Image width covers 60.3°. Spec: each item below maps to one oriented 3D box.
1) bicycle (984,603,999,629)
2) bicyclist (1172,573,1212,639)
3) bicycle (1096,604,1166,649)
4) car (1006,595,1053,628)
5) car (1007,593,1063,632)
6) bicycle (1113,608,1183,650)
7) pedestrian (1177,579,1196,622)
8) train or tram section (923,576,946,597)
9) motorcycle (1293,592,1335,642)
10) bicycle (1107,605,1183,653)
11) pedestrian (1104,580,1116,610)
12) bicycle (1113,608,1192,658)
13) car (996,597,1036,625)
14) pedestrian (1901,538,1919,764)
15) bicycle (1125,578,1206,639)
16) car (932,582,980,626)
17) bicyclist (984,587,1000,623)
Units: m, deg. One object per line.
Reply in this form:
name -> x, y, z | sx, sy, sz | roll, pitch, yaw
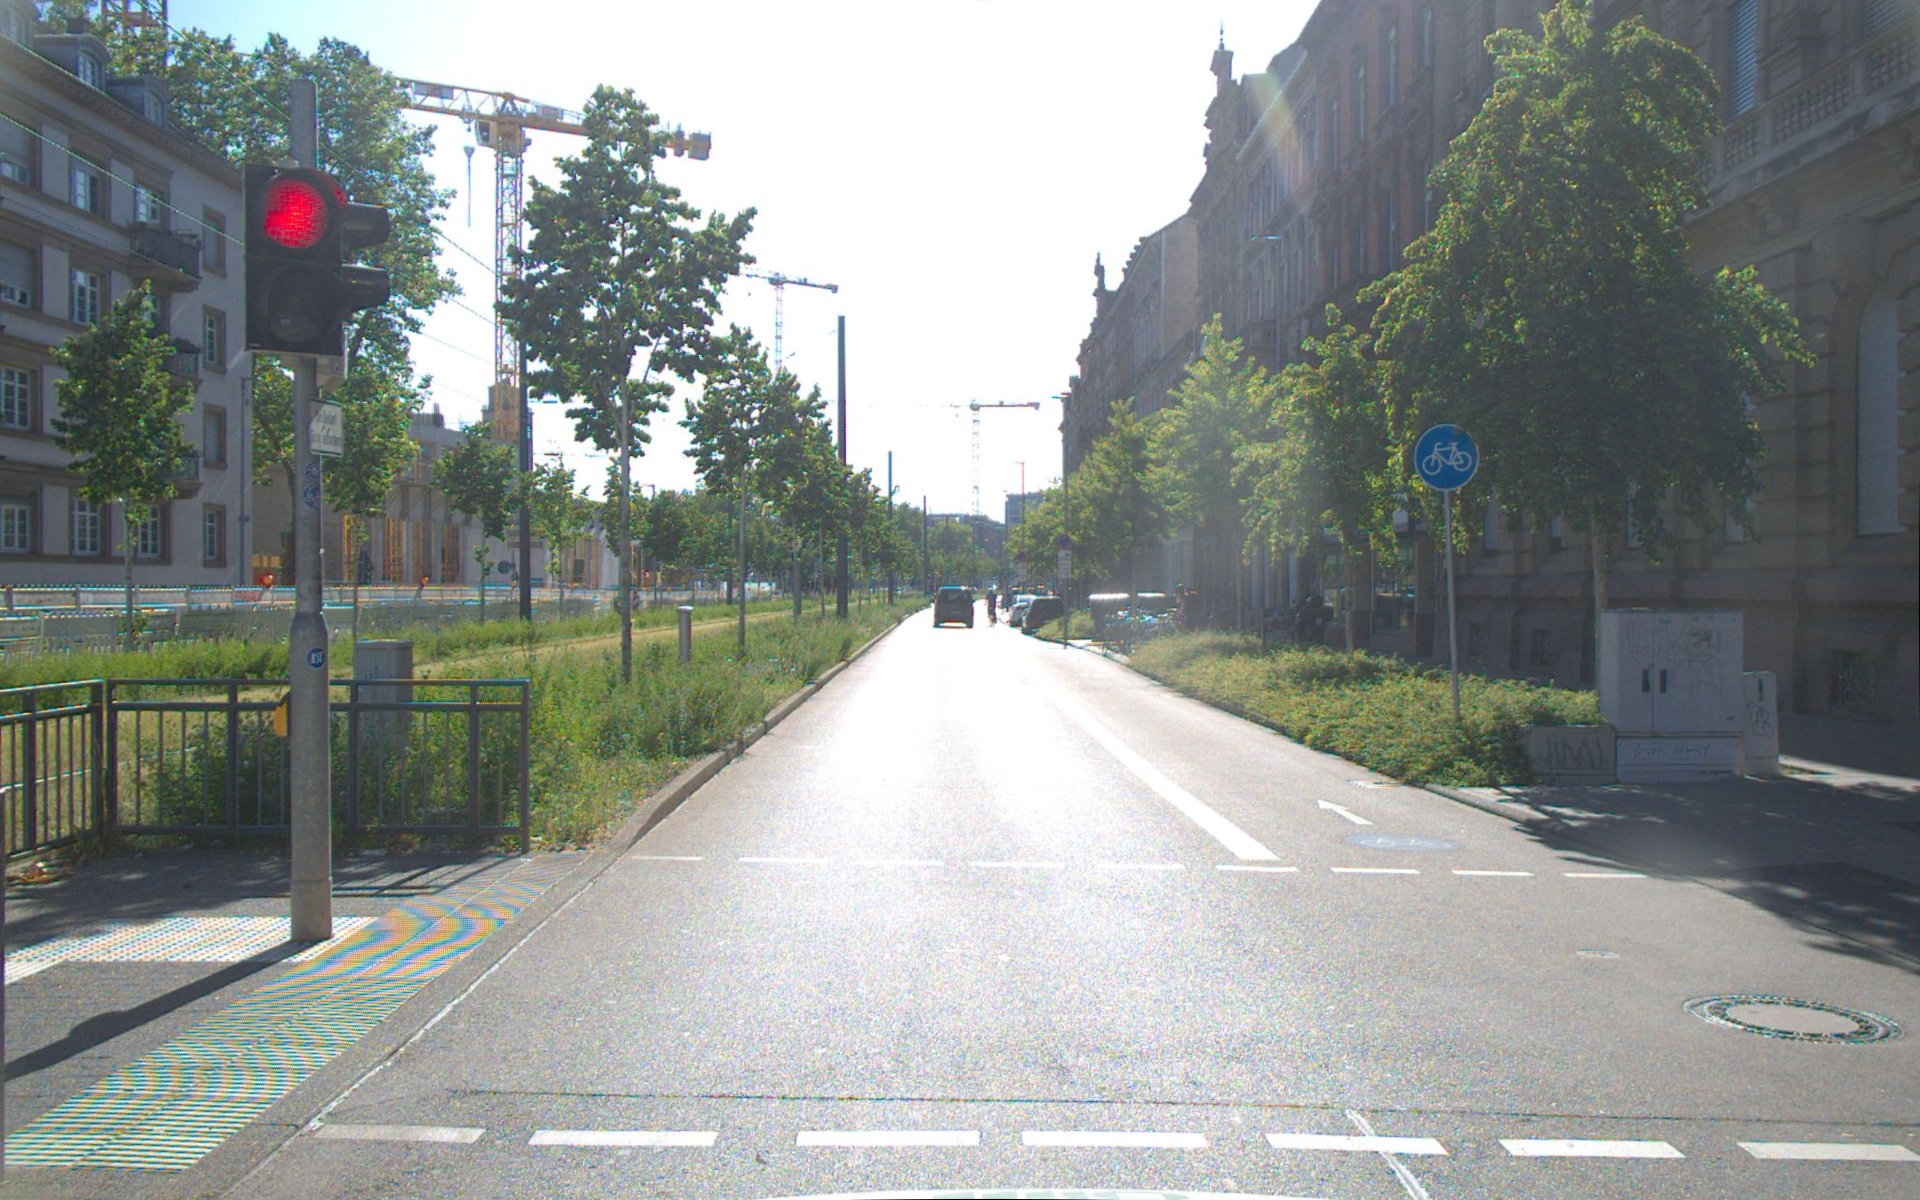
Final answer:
bicycle -> 1.527, 0.777, 79.587 | 0.589, 1.201, 1.869 | 2, 0, -1
bicyclist -> 5.766, 0.146, 41.170 | 0.782, 1.556, 0.662 | -4, 0, -1
bicycle -> 4.545, 0.710, 43.991 | 1.756, 1.048, 0.527 | -4, 0, -1
car -> 3.342, 0.532, 79.812 | 1.987, 1.525, 4.529 | 0, 0, -1
car -> 3.022, 0.470, 67.297 | 1.987, 1.525, 4.653 | 0, 0, -1
bicycle -> 4.848, 0.749, 42.653 | 1.756, 1.048, 0.527 | 0, 0, -1
pedestrian -> 8.581, 0.016, 62.724 | 0.601, 1.640, 0.669 | 0, 0, -1
train or tram section -> -3.540, -1.812, 229.250 | 2.699, 2.791, 9.866 | 1, 0, 2
motorcycle -> 9.466, 0.447, 44.290 | 0.686, 1.289, 1.981 | 0, 0, -1
bicycle -> 4.578, 0.708, 41.065 | 1.756, 1.048, 0.527 | -4, 0, -1
pedestrian -> 8.497, -0.284, 93.501 | 0.601, 1.640, 0.669 | 0, 0, -1
bicycle -> 4.609, 0.787, 39.692 | 1.756, 1.048, 0.527 | -4, 0, -1
car -> 3.097, 0.579, 92.335 | 1.987, 1.525, 4.529 | 0, 0, -1
pedestrian -> 8.547, 0.436, 13.901 | 0.638, 1.942, 1.078 | 0, 0, -2
bicycle -> 5.113, 0.201, 41.159 | 1.856, 1.353, 0.617 | -4, 0, -1
car -> -0.211, 0.159, 76.307 | 2.155, 1.960, 4.653 | 0, 0, -1
bicyclist -> 1.552, 0.225, 79.884 | 0.670, 1.702, 0.922 | 2, 0, -2
